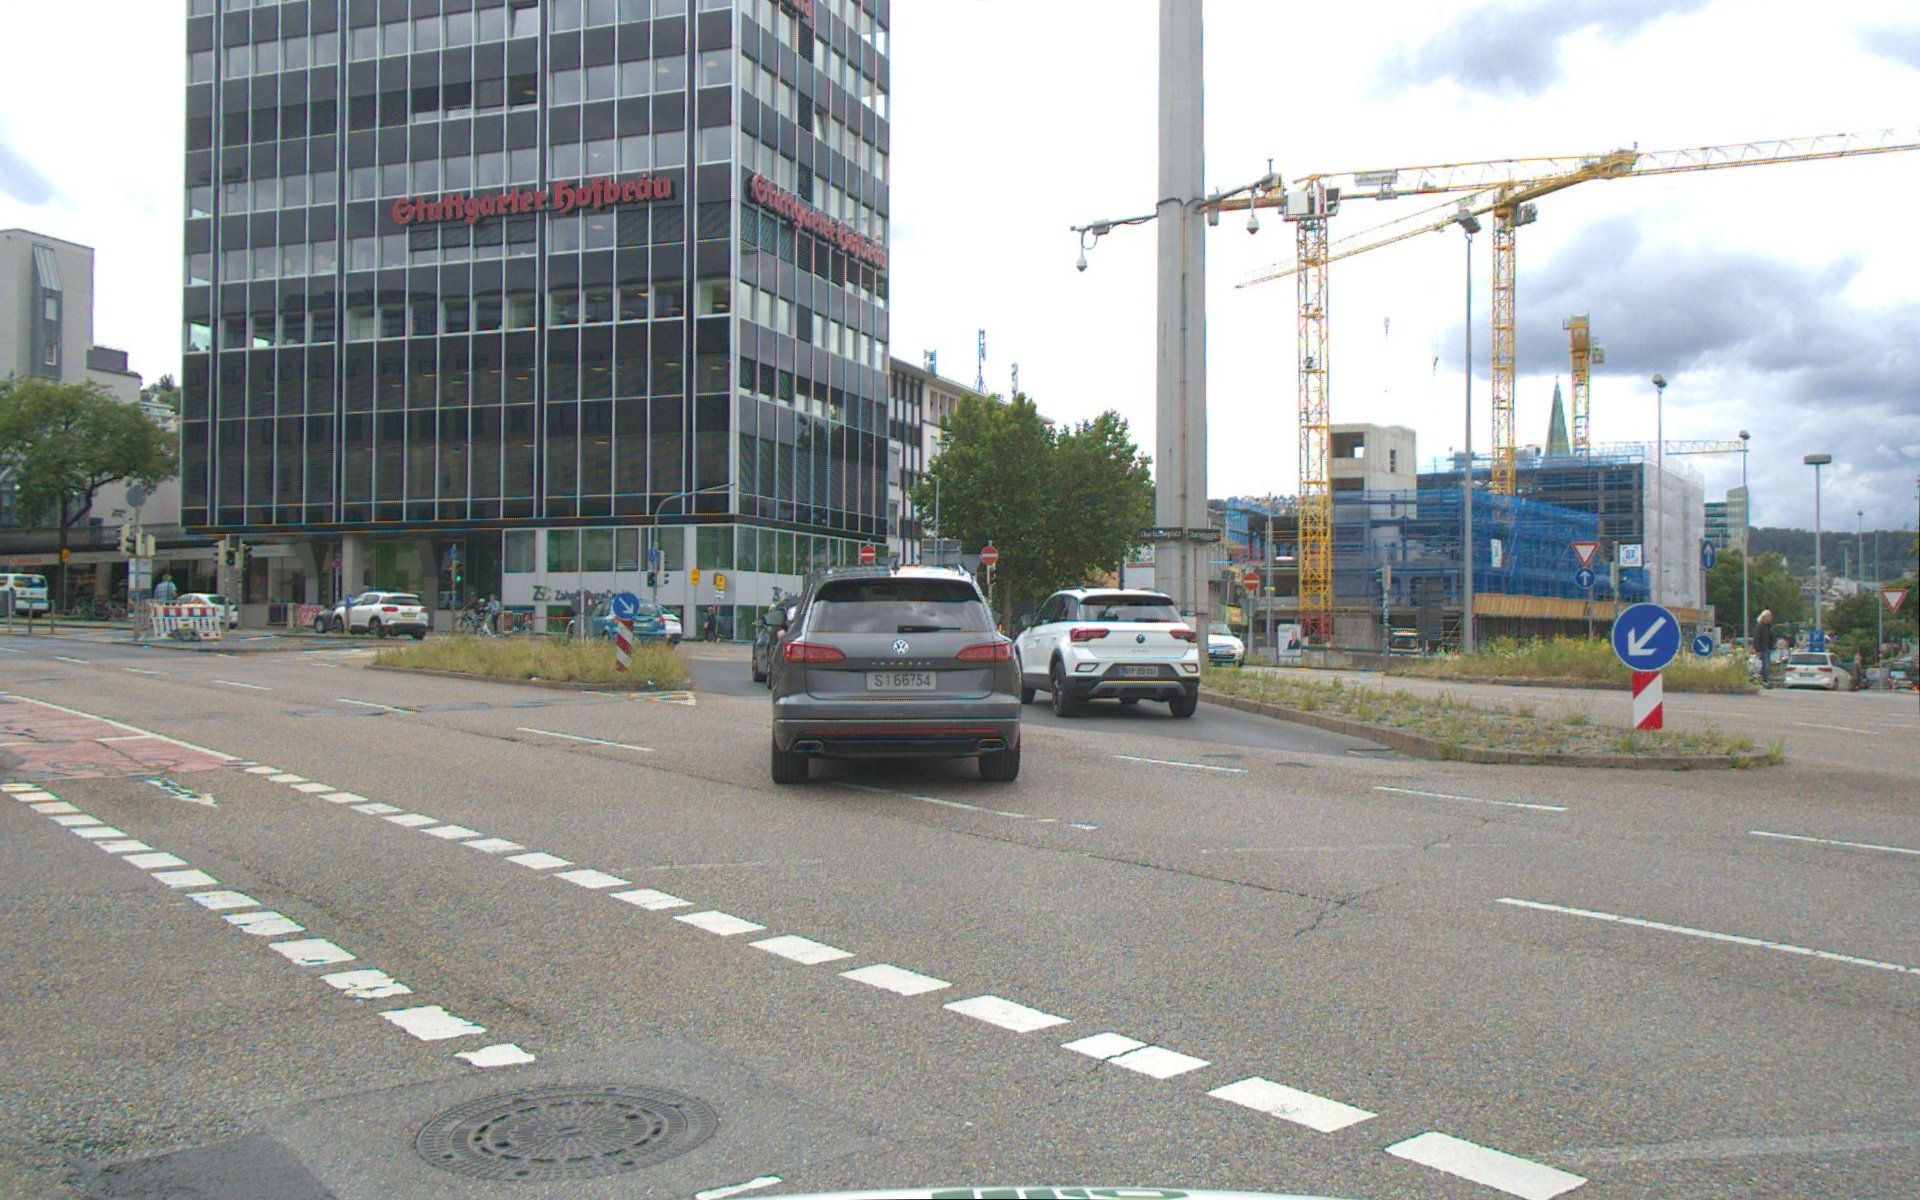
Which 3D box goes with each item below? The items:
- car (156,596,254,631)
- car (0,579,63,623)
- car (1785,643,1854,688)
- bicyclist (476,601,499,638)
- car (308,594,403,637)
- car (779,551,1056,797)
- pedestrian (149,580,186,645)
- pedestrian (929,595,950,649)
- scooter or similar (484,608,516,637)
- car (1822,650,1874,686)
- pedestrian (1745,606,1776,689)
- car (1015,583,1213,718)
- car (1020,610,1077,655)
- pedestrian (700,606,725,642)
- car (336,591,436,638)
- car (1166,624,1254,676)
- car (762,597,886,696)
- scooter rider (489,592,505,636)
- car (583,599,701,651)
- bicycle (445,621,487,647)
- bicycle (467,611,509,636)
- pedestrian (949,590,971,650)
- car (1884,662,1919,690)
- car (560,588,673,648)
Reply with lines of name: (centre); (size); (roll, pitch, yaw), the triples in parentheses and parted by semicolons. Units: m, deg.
car: (-33.182, 0.558, 72.662); (4.246, 1.443, 2.055); (1, 0, 35)
car: (-42.272, 0.028, 73.352); (4.756, 1.907, 1.837); (1, 0, 23)
car: (33.547, 2.564, 64.516); (1.842, 1.629, 3.985); (1, -3, 35)
bicyclist: (-20.090, 0.811, 70.316); (0.827, 1.576, 0.565); (0, 0, -3)
car: (-24.036, 0.602, 65.728); (3.926, 1.601, 1.856); (1, 0, 40)
car: (-0.520, 0.511, 13.825); (1.932, 1.725, 4.218); (1, 0, -7)
pedestrian: (-22.938, 0.361, 47.878); (0.620, 1.821, 0.717); (2, 3, 25)
pedestrian: (-0.710, 0.747, 56.636); (0.627, 1.828, 0.611); (2, -1, 2)
scooter or similar: (-19.271, 0.933, 69.272); (1.298, 1.196, 0.590); (0, 0, -16)
car: (45.359, 3.435, 84.457); (1.959, 1.663, 3.987); (1, 0, 34)
pedestrian: (18.774, 1.104, 38.795); (0.544, 1.928, 0.639); (0, 1, 15)
car: (1.882, 0.580, 21.417); (1.763, 1.572, 3.930); (1, 0, -7)
car: (3.230, 1.214, 61.181); (1.952, 1.531, 5.040); (1, -1, 1)
pedestrian: (-10.138, 0.971, 67.840); (0.819, 1.468, 0.606); (1, 0, 21)
car: (-20.416, 0.504, 58.763); (3.701, 1.594, 1.826); (1, 0, 43)
car: (7.709, 1.520, 51.302); (1.692, 1.443, 3.640); (2, 0, -9)
car: (-2.148, 0.728, 27.031); (1.797, 1.420, 4.145); (3, -1, -3)
scooter rider: (-19.390, 0.599, 69.237); (0.631, 1.840, 0.591); (0, 0, -16)
car: (-10.134, 0.764, 52.593); (3.698, 1.544, 1.828); (1, 0, 41)
bicycle: (-21.868, 1.496, 73.205); (1.725, 1.024, 0.681); (2, 2, 19)
bicycle: (-20.068, 1.006, 70.318); (1.631, 1.045, 0.581); (0, 0, -3)
pedestrian: (0.006, 0.664, 54.868); (0.627, 1.989, 0.611); (1, -1, 5)
car: (63.741, 5.107, 111.433); (1.962, 1.663, 3.980); (1, 0, 39)
car: (-9.361, 0.460, 44.887); (1.815, 1.544, 3.724); (1, 0, -33)
